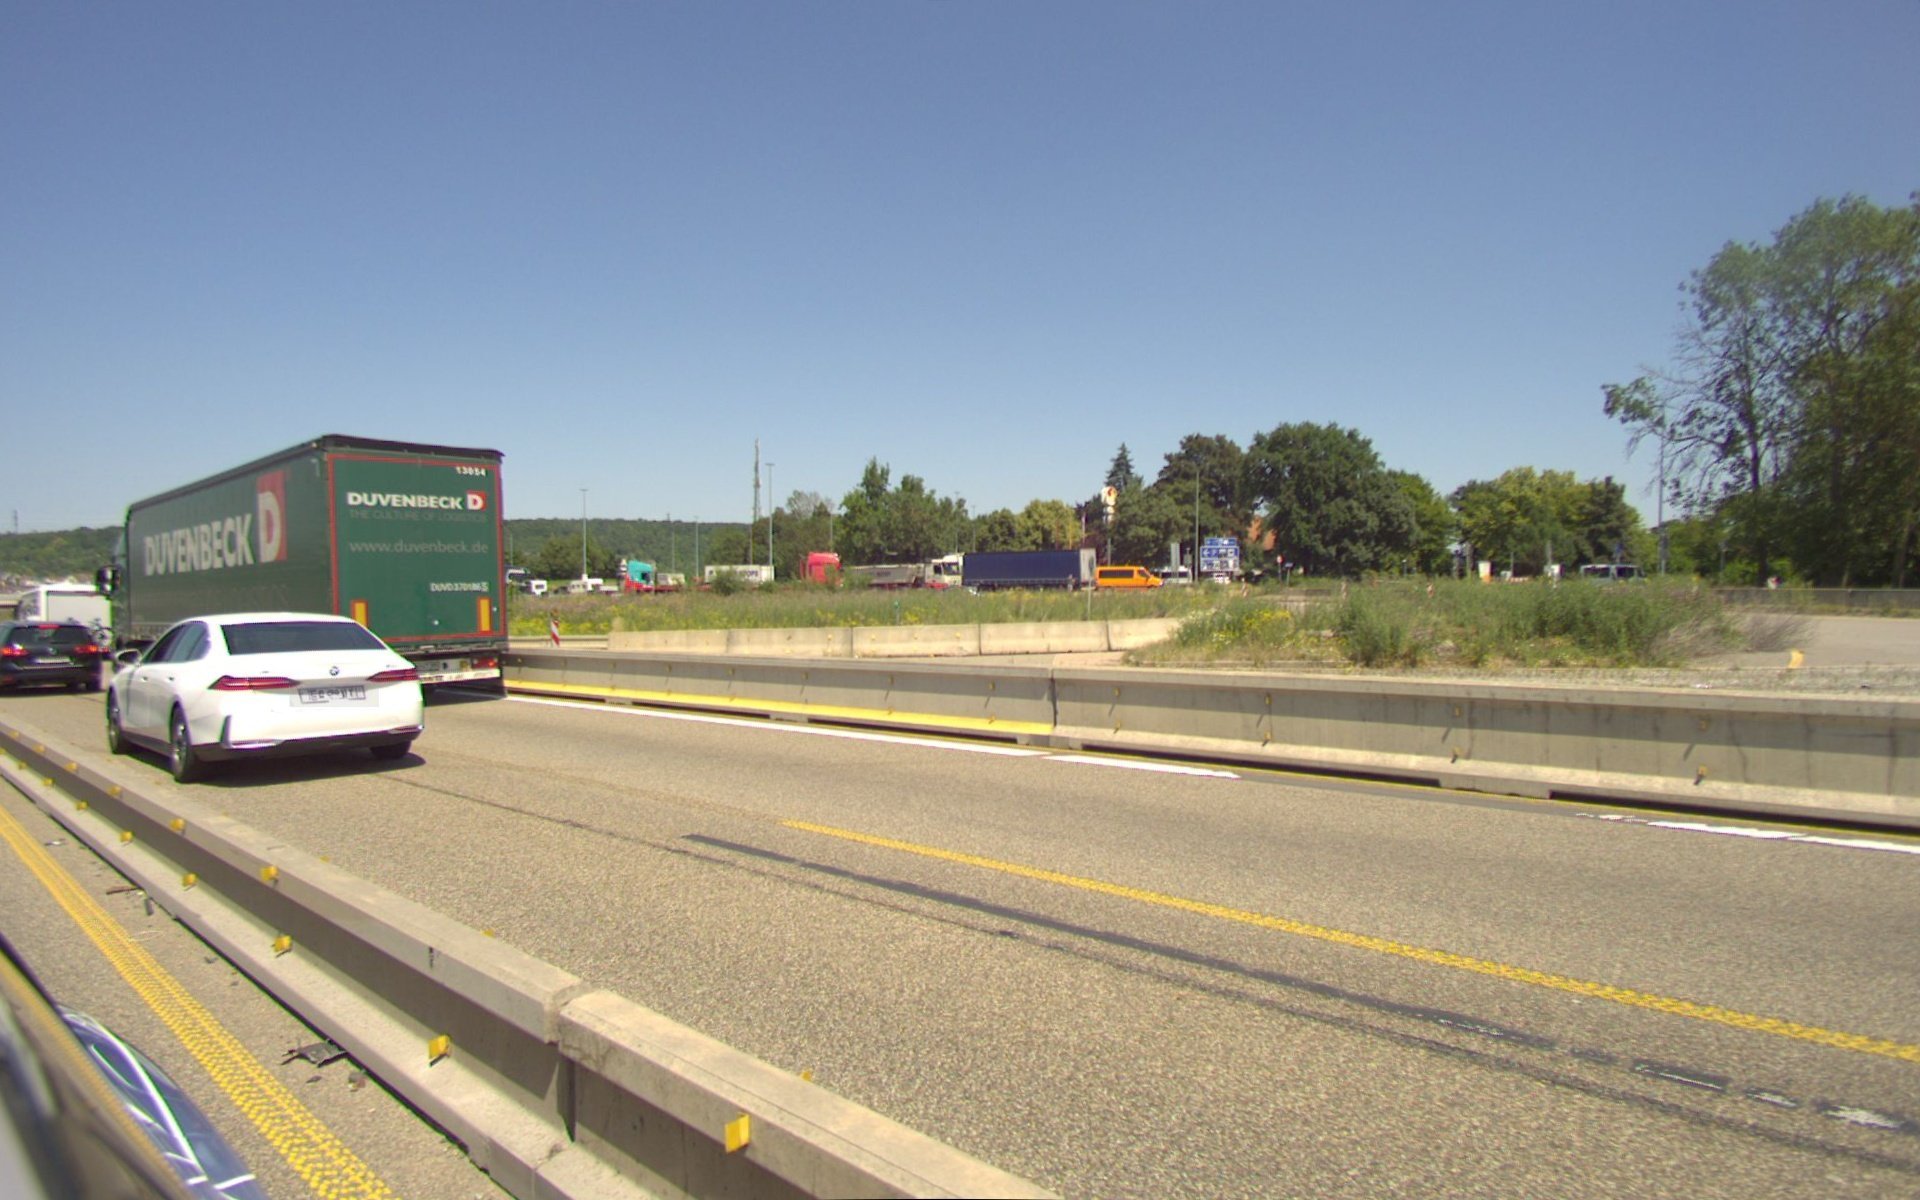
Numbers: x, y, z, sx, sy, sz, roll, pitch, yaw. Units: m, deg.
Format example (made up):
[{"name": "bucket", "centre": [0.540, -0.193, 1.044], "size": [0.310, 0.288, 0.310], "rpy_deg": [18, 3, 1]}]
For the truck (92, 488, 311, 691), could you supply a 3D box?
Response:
[{"name": "truck", "centre": [-18.392, -0.185, 24.407], "size": [6.280, 4.235, 2.975], "rpy_deg": [-1, 0, 41]}]

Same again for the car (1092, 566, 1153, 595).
[{"name": "car", "centre": [13.803, -1.680, 86.064], "size": [4.965, 2.270, 1.996], "rpy_deg": [-2, 1, 7]}]

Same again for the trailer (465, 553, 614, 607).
[{"name": "trailer", "centre": [-38.765, -1.855, 93.607], "size": [12.191, 4.197, 2.864], "rpy_deg": [-4, 2, -4]}]

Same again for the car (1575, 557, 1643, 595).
[{"name": "car", "centre": [36.650, -1.352, 57.133], "size": [3.936, 2.029, 2.004], "rpy_deg": [-3, 1, -38]}]

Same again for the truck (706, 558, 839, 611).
[{"name": "truck", "centre": [-14.411, -1.211, 78.362], "size": [9.941, 3.805, 2.002], "rpy_deg": [-1, 0, -4]}]

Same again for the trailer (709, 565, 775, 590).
[{"name": "trailer", "centre": [-32.990, -3.341, 152.801], "size": [11.693, 3.405, 2.915], "rpy_deg": [-1, 0, 39]}]

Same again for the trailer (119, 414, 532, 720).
[{"name": "trailer", "centre": [-13.047, -0.358, 19.683], "size": [13.844, 4.230, 2.975], "rpy_deg": [-1, 0, 41]}]

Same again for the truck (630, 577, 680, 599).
[{"name": "truck", "centre": [-39.751, -1.570, 131.812], "size": [7.775, 2.624, 2.515], "rpy_deg": [-1, 1, 42]}]

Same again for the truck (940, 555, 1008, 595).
[{"name": "truck", "centre": [1.307, -2.373, 97.157], "size": [5.956, 3.649, 2.835], "rpy_deg": [-1, 1, 41]}]

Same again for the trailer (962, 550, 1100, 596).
[{"name": "trailer", "centre": [6.323, -2.400, 92.907], "size": [13.425, 3.649, 2.991], "rpy_deg": [-1, 1, 41]}]

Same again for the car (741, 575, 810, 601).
[{"name": "car", "centre": [-11.791, -0.763, 64.864], "size": [3.955, 1.519, 1.994], "rpy_deg": [-1, 0, 9]}]

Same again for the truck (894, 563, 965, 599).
[{"name": "truck", "centre": [-2.528, -1.534, 82.545], "size": [5.624, 2.788, 2.248], "rpy_deg": [-1, 1, 39]}]

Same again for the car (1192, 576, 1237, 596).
[{"name": "car", "centre": [25.209, -1.365, 100.328], "size": [3.938, 1.847, 1.745], "rpy_deg": [-1, 0, -6]}]

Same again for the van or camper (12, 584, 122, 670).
[{"name": "van or camper", "centre": [-34.063, 0.975, 38.489], "size": [7.824, 2.939, 2.410], "rpy_deg": [-1, 0, 43]}]

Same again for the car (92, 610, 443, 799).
[{"name": "car", "centre": [-7.282, 0.889, 10.426], "size": [4.758, 1.504, 1.876], "rpy_deg": [-1, -1, 41]}]

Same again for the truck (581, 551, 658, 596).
[{"name": "truck", "centre": [-31.615, -2.466, 94.156], "size": [6.053, 3.777, 2.837], "rpy_deg": [-4, 2, -5]}]

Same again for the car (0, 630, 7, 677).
[{"name": "car", "centre": [-30.118, 1.594, 30.472], "size": [3.887, 1.362, 1.692], "rpy_deg": [-1, -2, 41]}]

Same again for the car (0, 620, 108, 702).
[{"name": "car", "centre": [-19.003, 1.188, 20.705], "size": [4.225, 1.484, 1.748], "rpy_deg": [-1, 0, 41]}]

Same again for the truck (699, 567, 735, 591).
[{"name": "truck", "centre": [-37.586, -3.243, 156.524], "size": [4.902, 3.382, 2.866], "rpy_deg": [-1, 1, 39]}]

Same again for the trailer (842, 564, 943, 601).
[{"name": "trailer", "centre": [-5.799, -1.465, 85.087], "size": [9.384, 2.788, 2.232], "rpy_deg": [-1, 1, 39]}]
